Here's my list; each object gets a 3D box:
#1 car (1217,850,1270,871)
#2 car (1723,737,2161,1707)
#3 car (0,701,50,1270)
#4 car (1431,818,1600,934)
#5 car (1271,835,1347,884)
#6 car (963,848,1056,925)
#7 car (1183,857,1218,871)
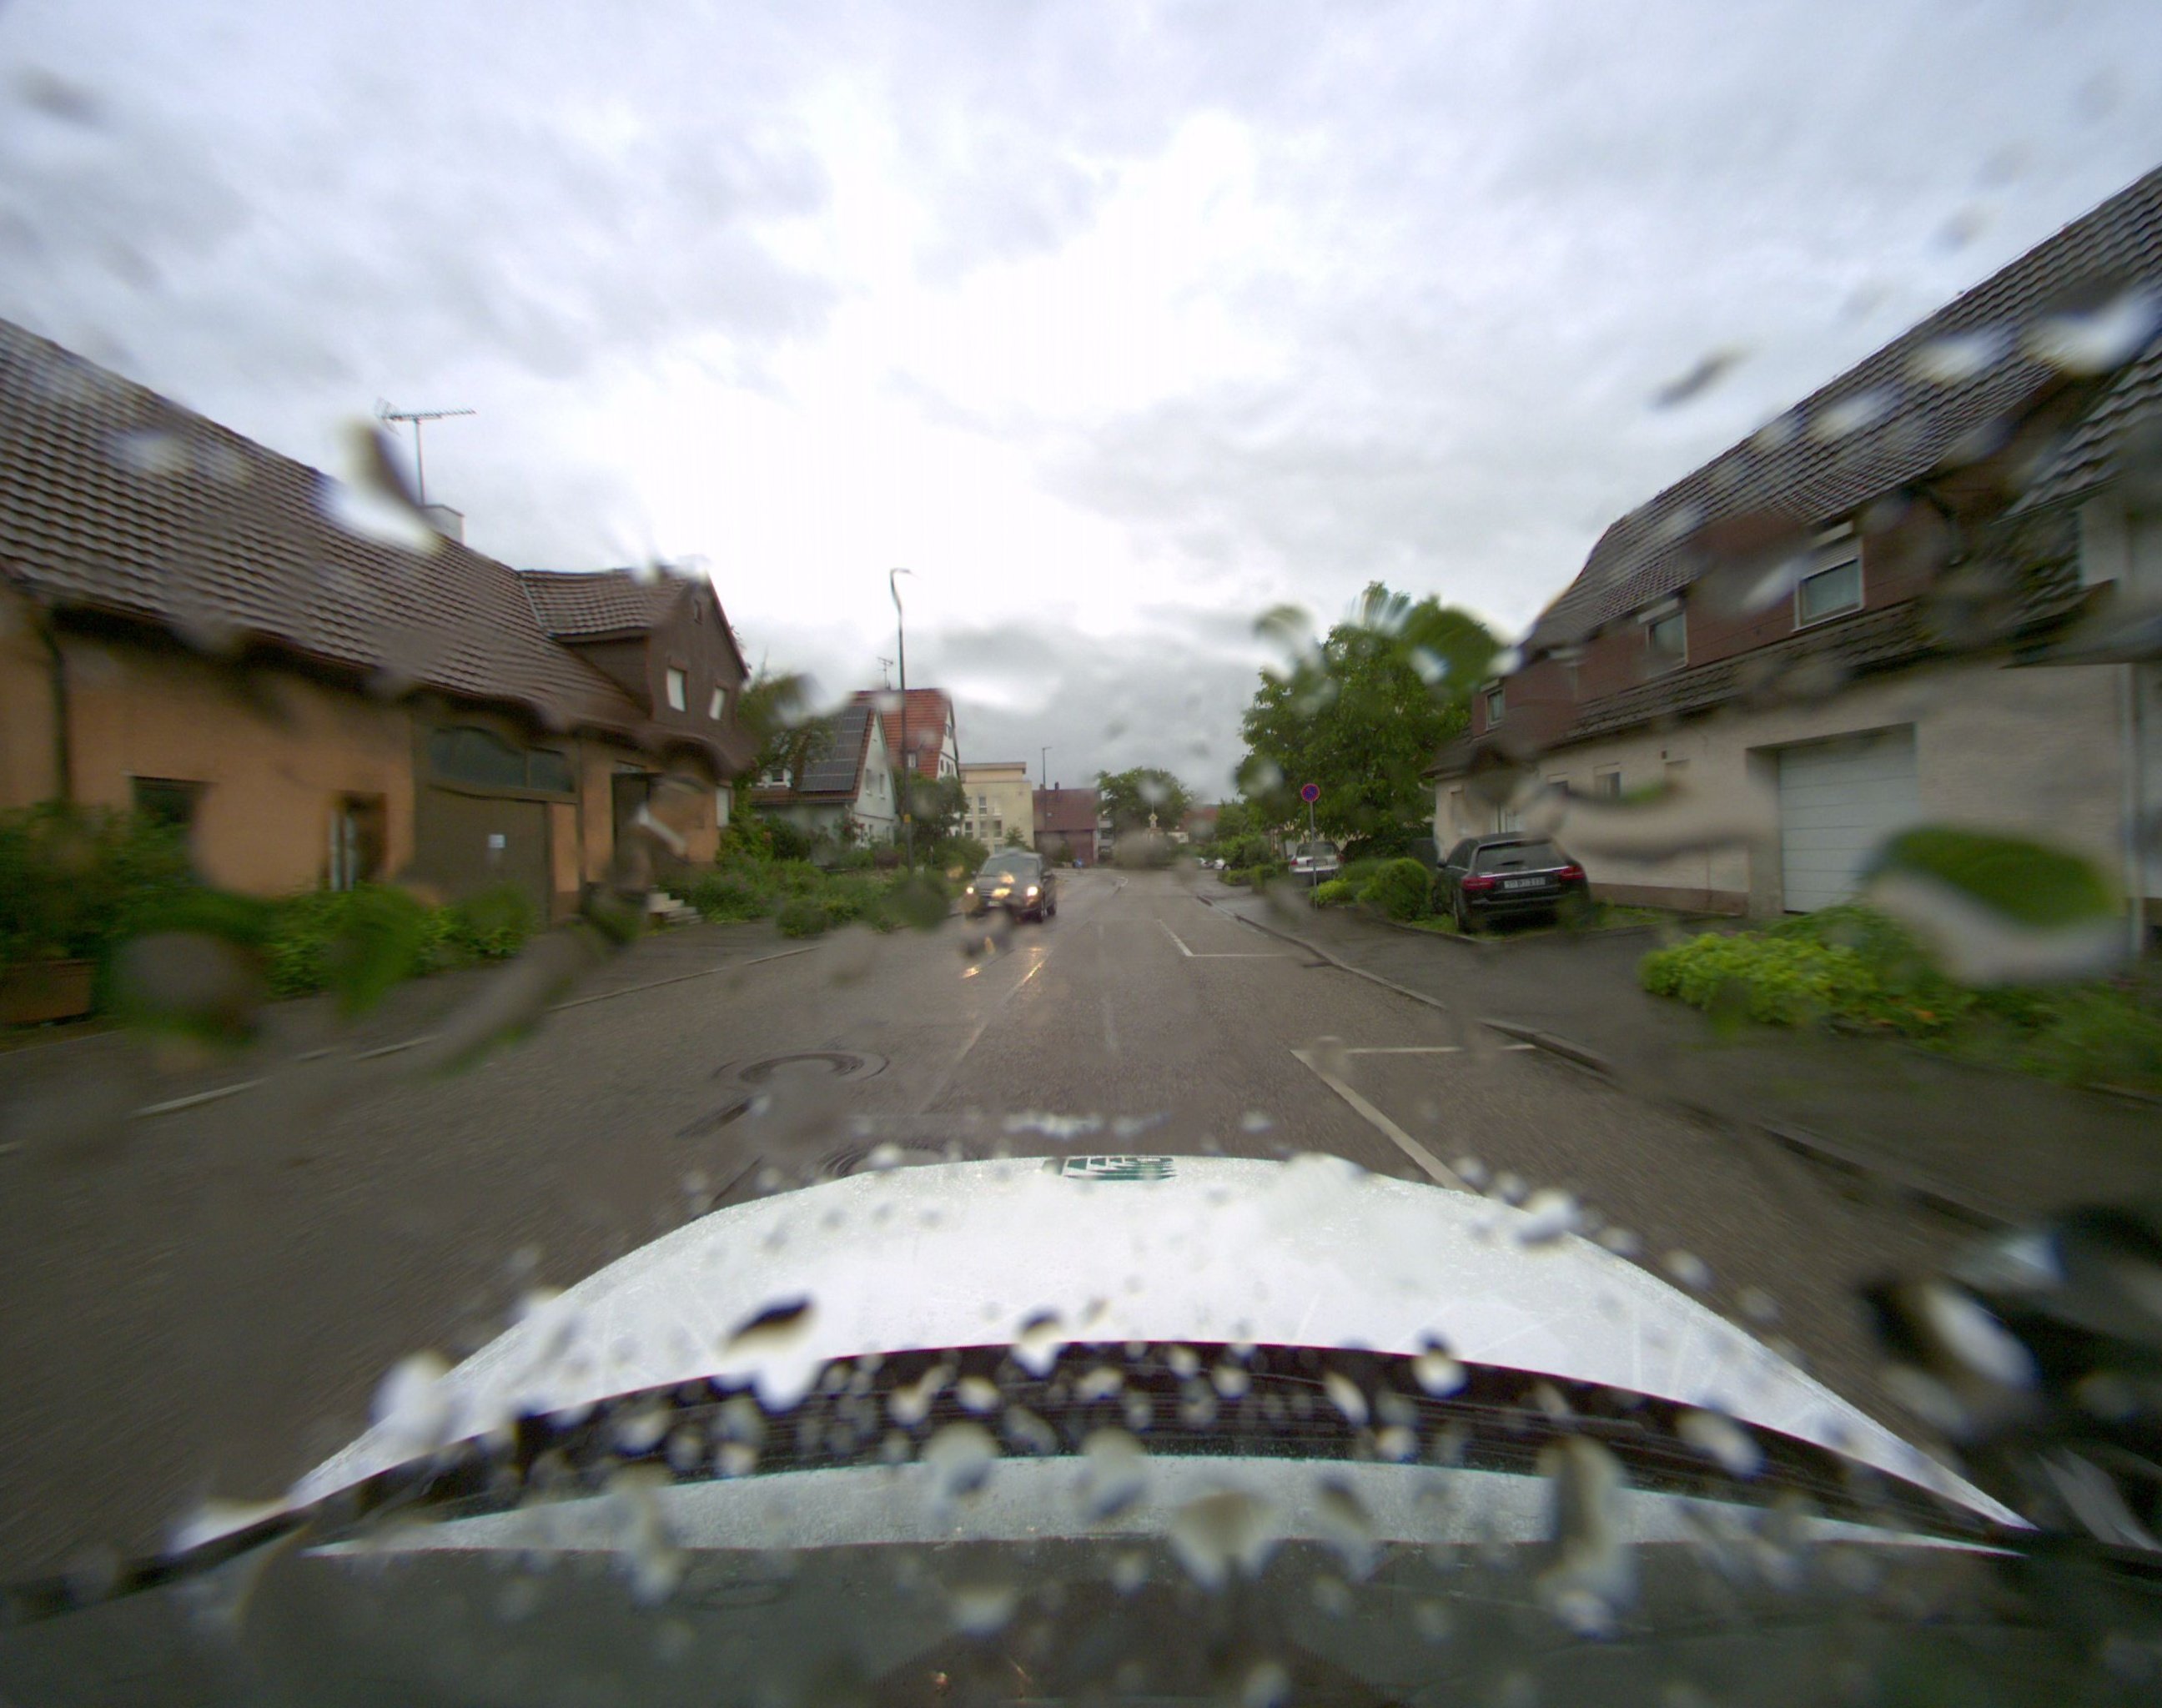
[{"bbox_3d":[12.731,0.532,63.787,3.927,1.408,2.007,-3,-1,12],"label":"car"},{"bbox_3d":[2.602,0.634,0.131,1.744,1.710,3.998,-2,0,-1],"label":"car"},{"bbox_3d":[-4.797,0.452,0.407,1.815,2.014,5.216,0,0,1],"label":"car"},{"bbox_3d":[6.791,0.261,13.144,1.744,1.393,4.021,-8,-1,21],"label":"car"},{"bbox_3d":[7.363,0.177,26.660,1.631,1.430,3.681,-2,0,4],"label":"car"},{"bbox_3d":[-1.629,0.729,19.900,1.791,1.640,4.001,-2,0,1],"label":"car"},{"bbox_3d":[14.840,1.204,101.101,3.956,1.626,2.009,-2,-1,17],"label":"car"}]
